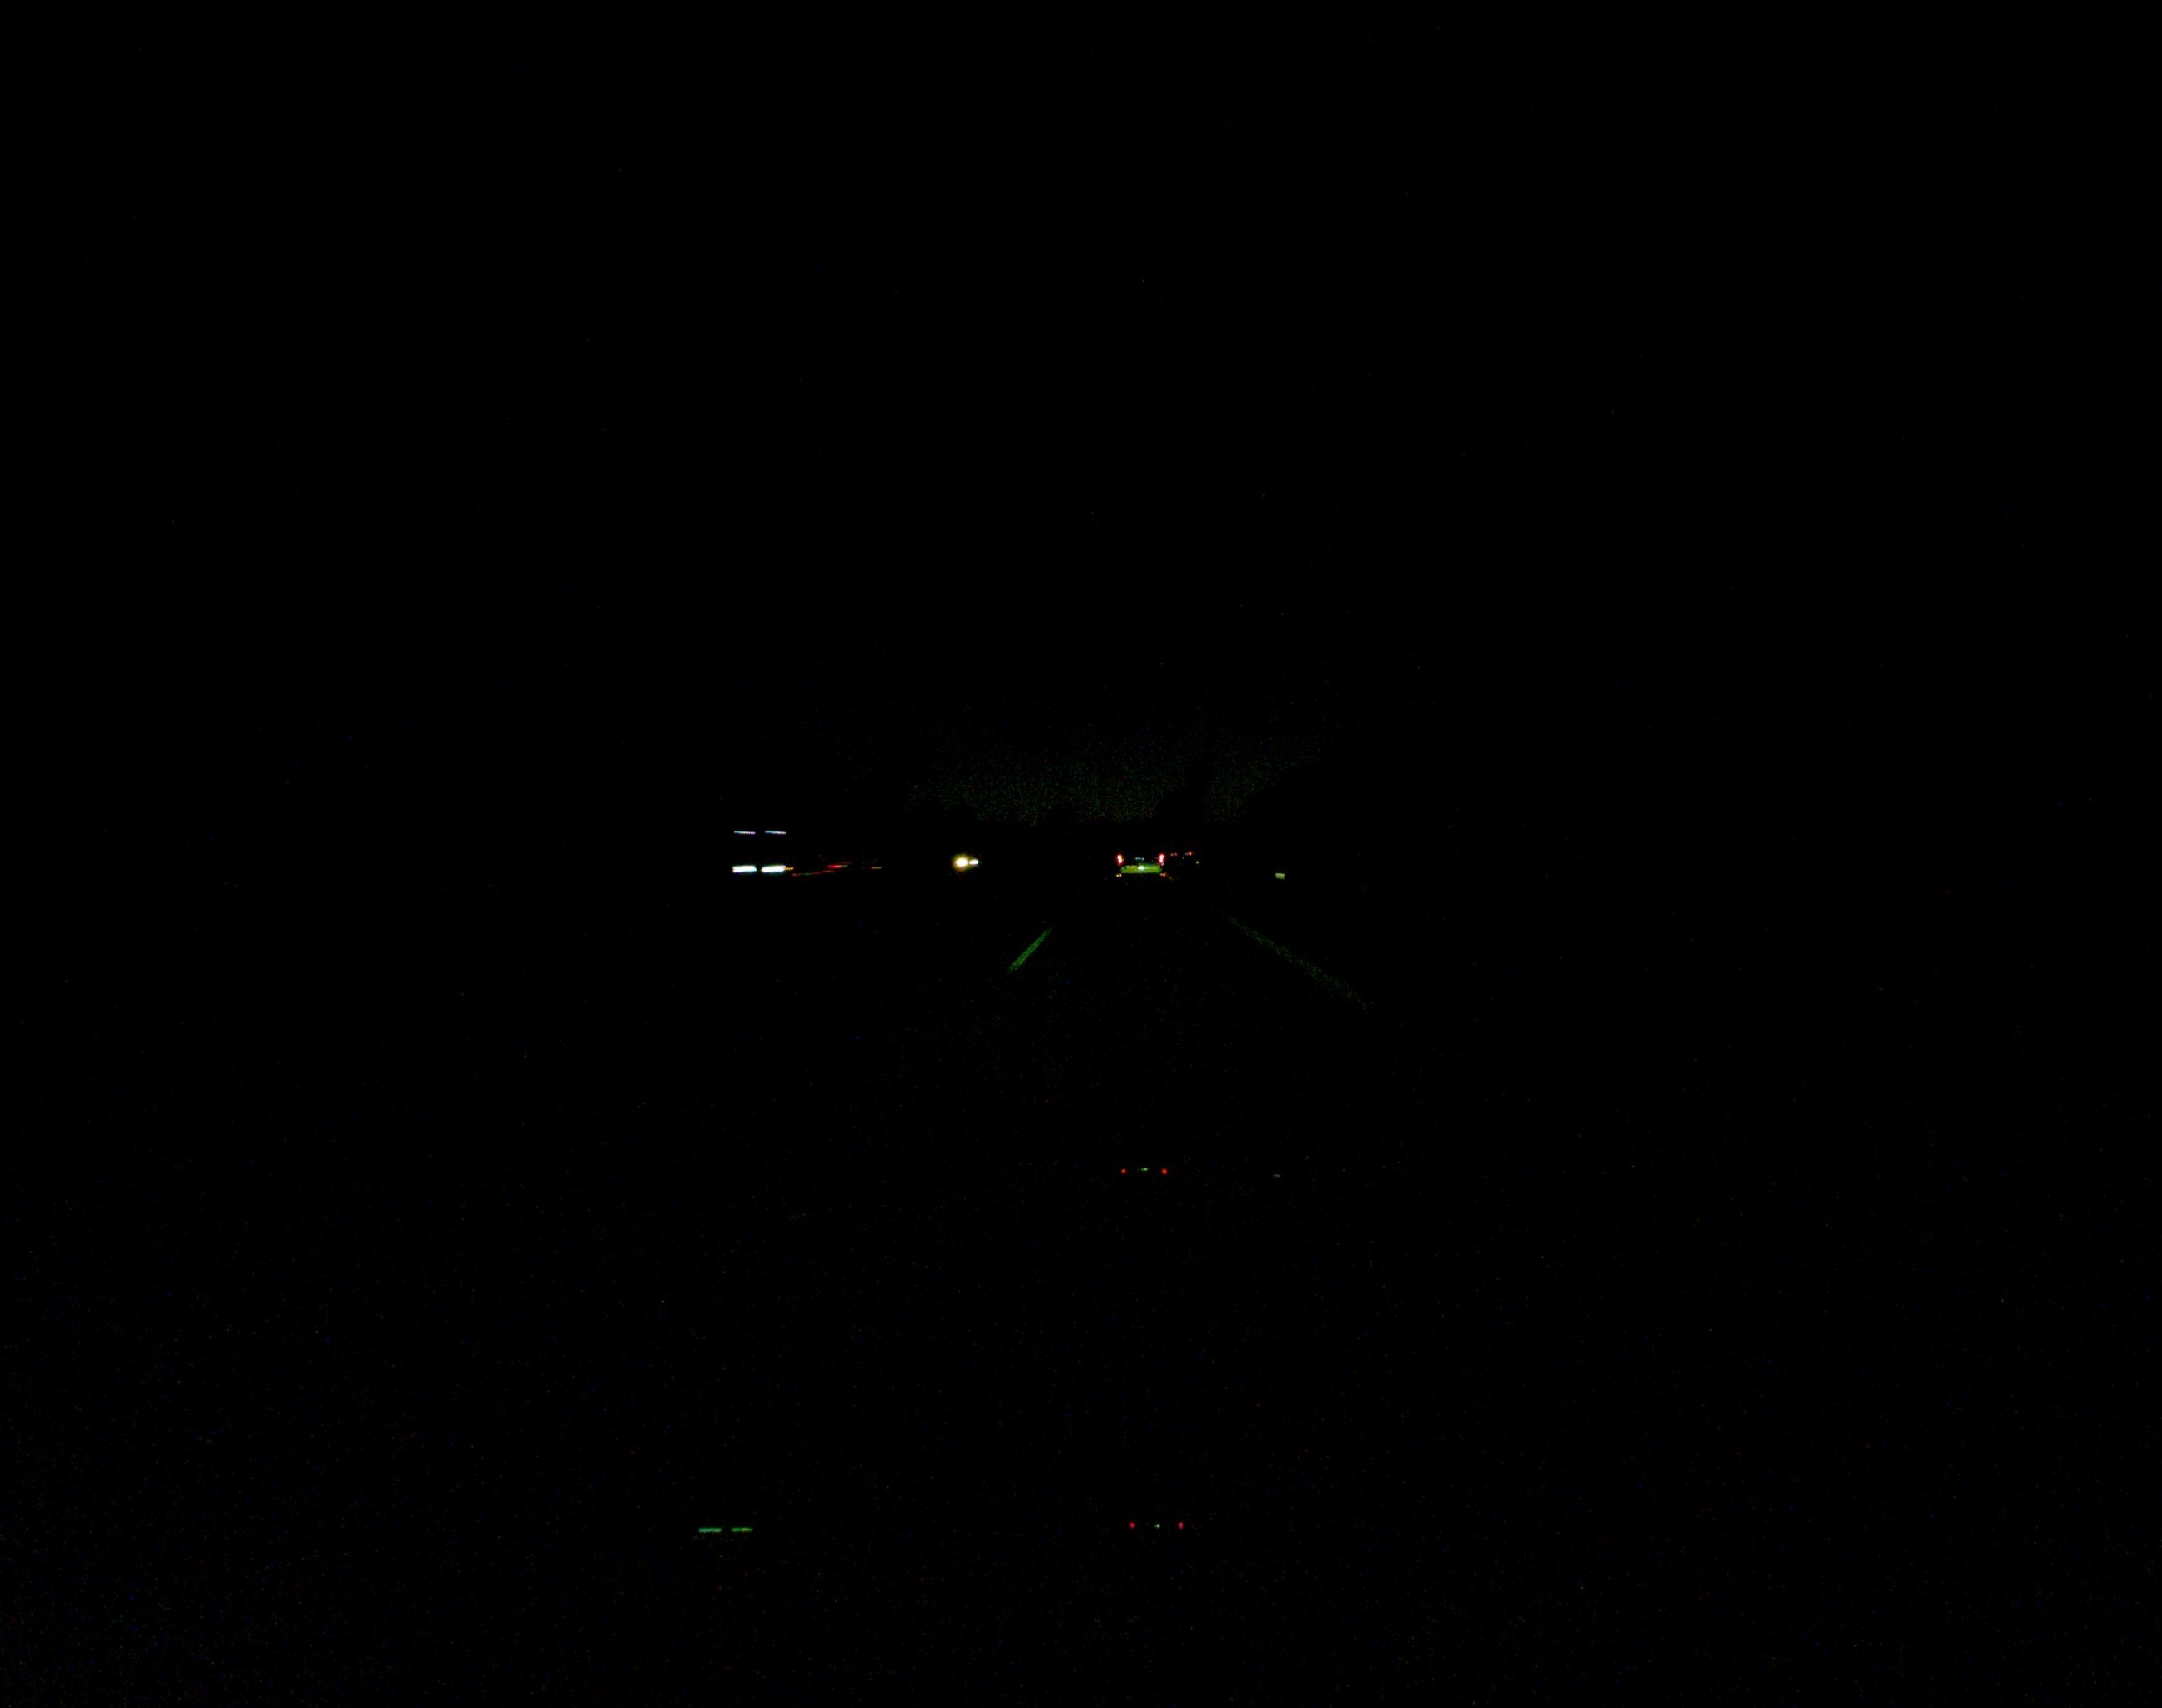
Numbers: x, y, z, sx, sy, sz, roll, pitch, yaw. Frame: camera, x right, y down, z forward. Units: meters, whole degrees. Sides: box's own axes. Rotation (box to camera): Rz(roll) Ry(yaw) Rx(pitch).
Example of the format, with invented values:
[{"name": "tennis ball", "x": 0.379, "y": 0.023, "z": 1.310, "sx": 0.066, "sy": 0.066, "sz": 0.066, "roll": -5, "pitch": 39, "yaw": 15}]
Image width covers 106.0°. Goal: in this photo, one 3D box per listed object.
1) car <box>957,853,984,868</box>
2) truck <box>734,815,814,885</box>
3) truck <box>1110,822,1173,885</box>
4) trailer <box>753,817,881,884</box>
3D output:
[{"name": "car", "x": -12.597, "y": 0.742, "z": 92.745, "sx": 1.983, "sy": 1.580, "sz": 4.592, "roll": -1, "pitch": -1, "yaw": 6}, {"name": "truck", "x": -19.461, "y": -0.214, "z": 51.942, "sx": 2.702, "sy": 4.199, "sz": 5.426, "roll": -1, "pitch": -1, "yaw": 4}, {"name": "truck", "x": 2.839, "y": 0.014, "z": 39.018, "sx": 2.619, "sy": 2.624, "sz": 8.692, "roll": -1, "pitch": -1, "yaw": 3}, {"name": "trailer", "x": -18.825, "y": -0.135, "z": 60.188, "sx": 2.676, "sy": 4.218, "sz": 17.271, "roll": -1, "pitch": -1, "yaw": 4}]
